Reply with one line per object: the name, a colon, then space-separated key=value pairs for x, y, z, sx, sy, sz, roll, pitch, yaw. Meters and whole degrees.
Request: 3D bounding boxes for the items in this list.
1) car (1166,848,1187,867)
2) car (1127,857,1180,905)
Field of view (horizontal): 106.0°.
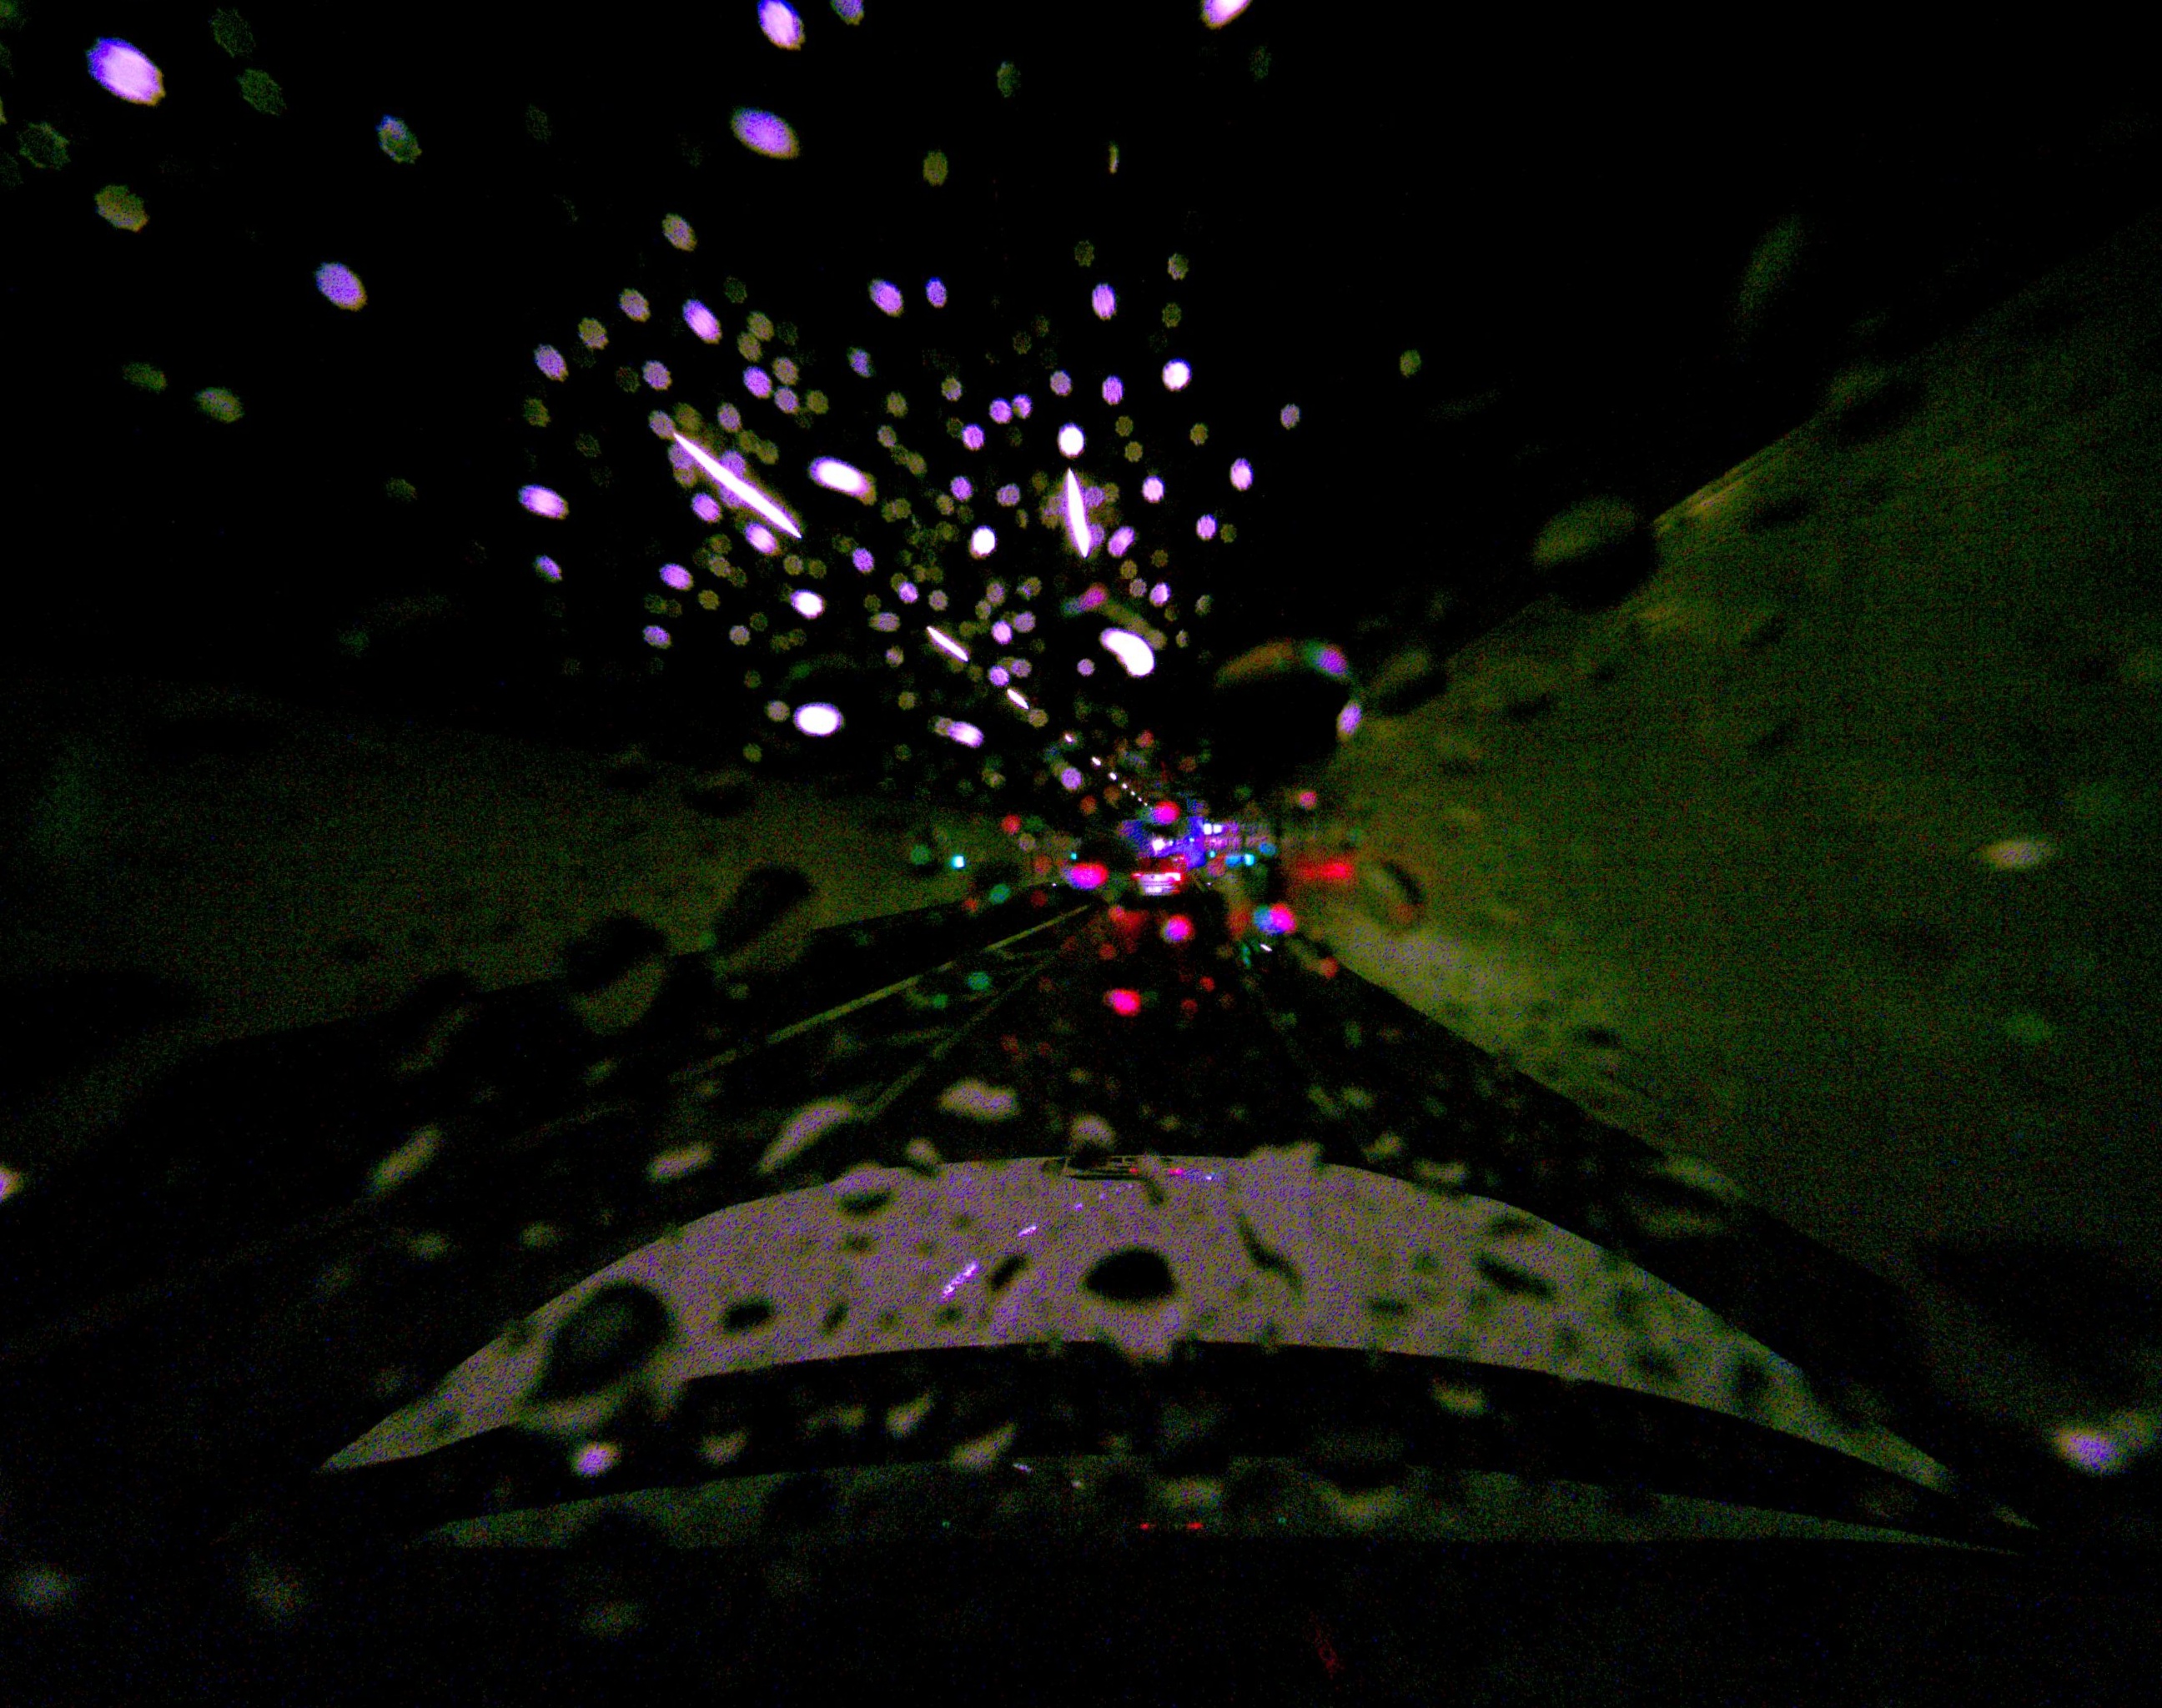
car: x=8.874 y=0.325 z=75.213 sx=1.870 sy=1.621 sz=4.008 roll=0 pitch=-2 yaw=8
car: x=2.279 y=0.807 z=25.292 sx=1.524 sy=1.397 sz=3.439 roll=0 pitch=-1 yaw=6
